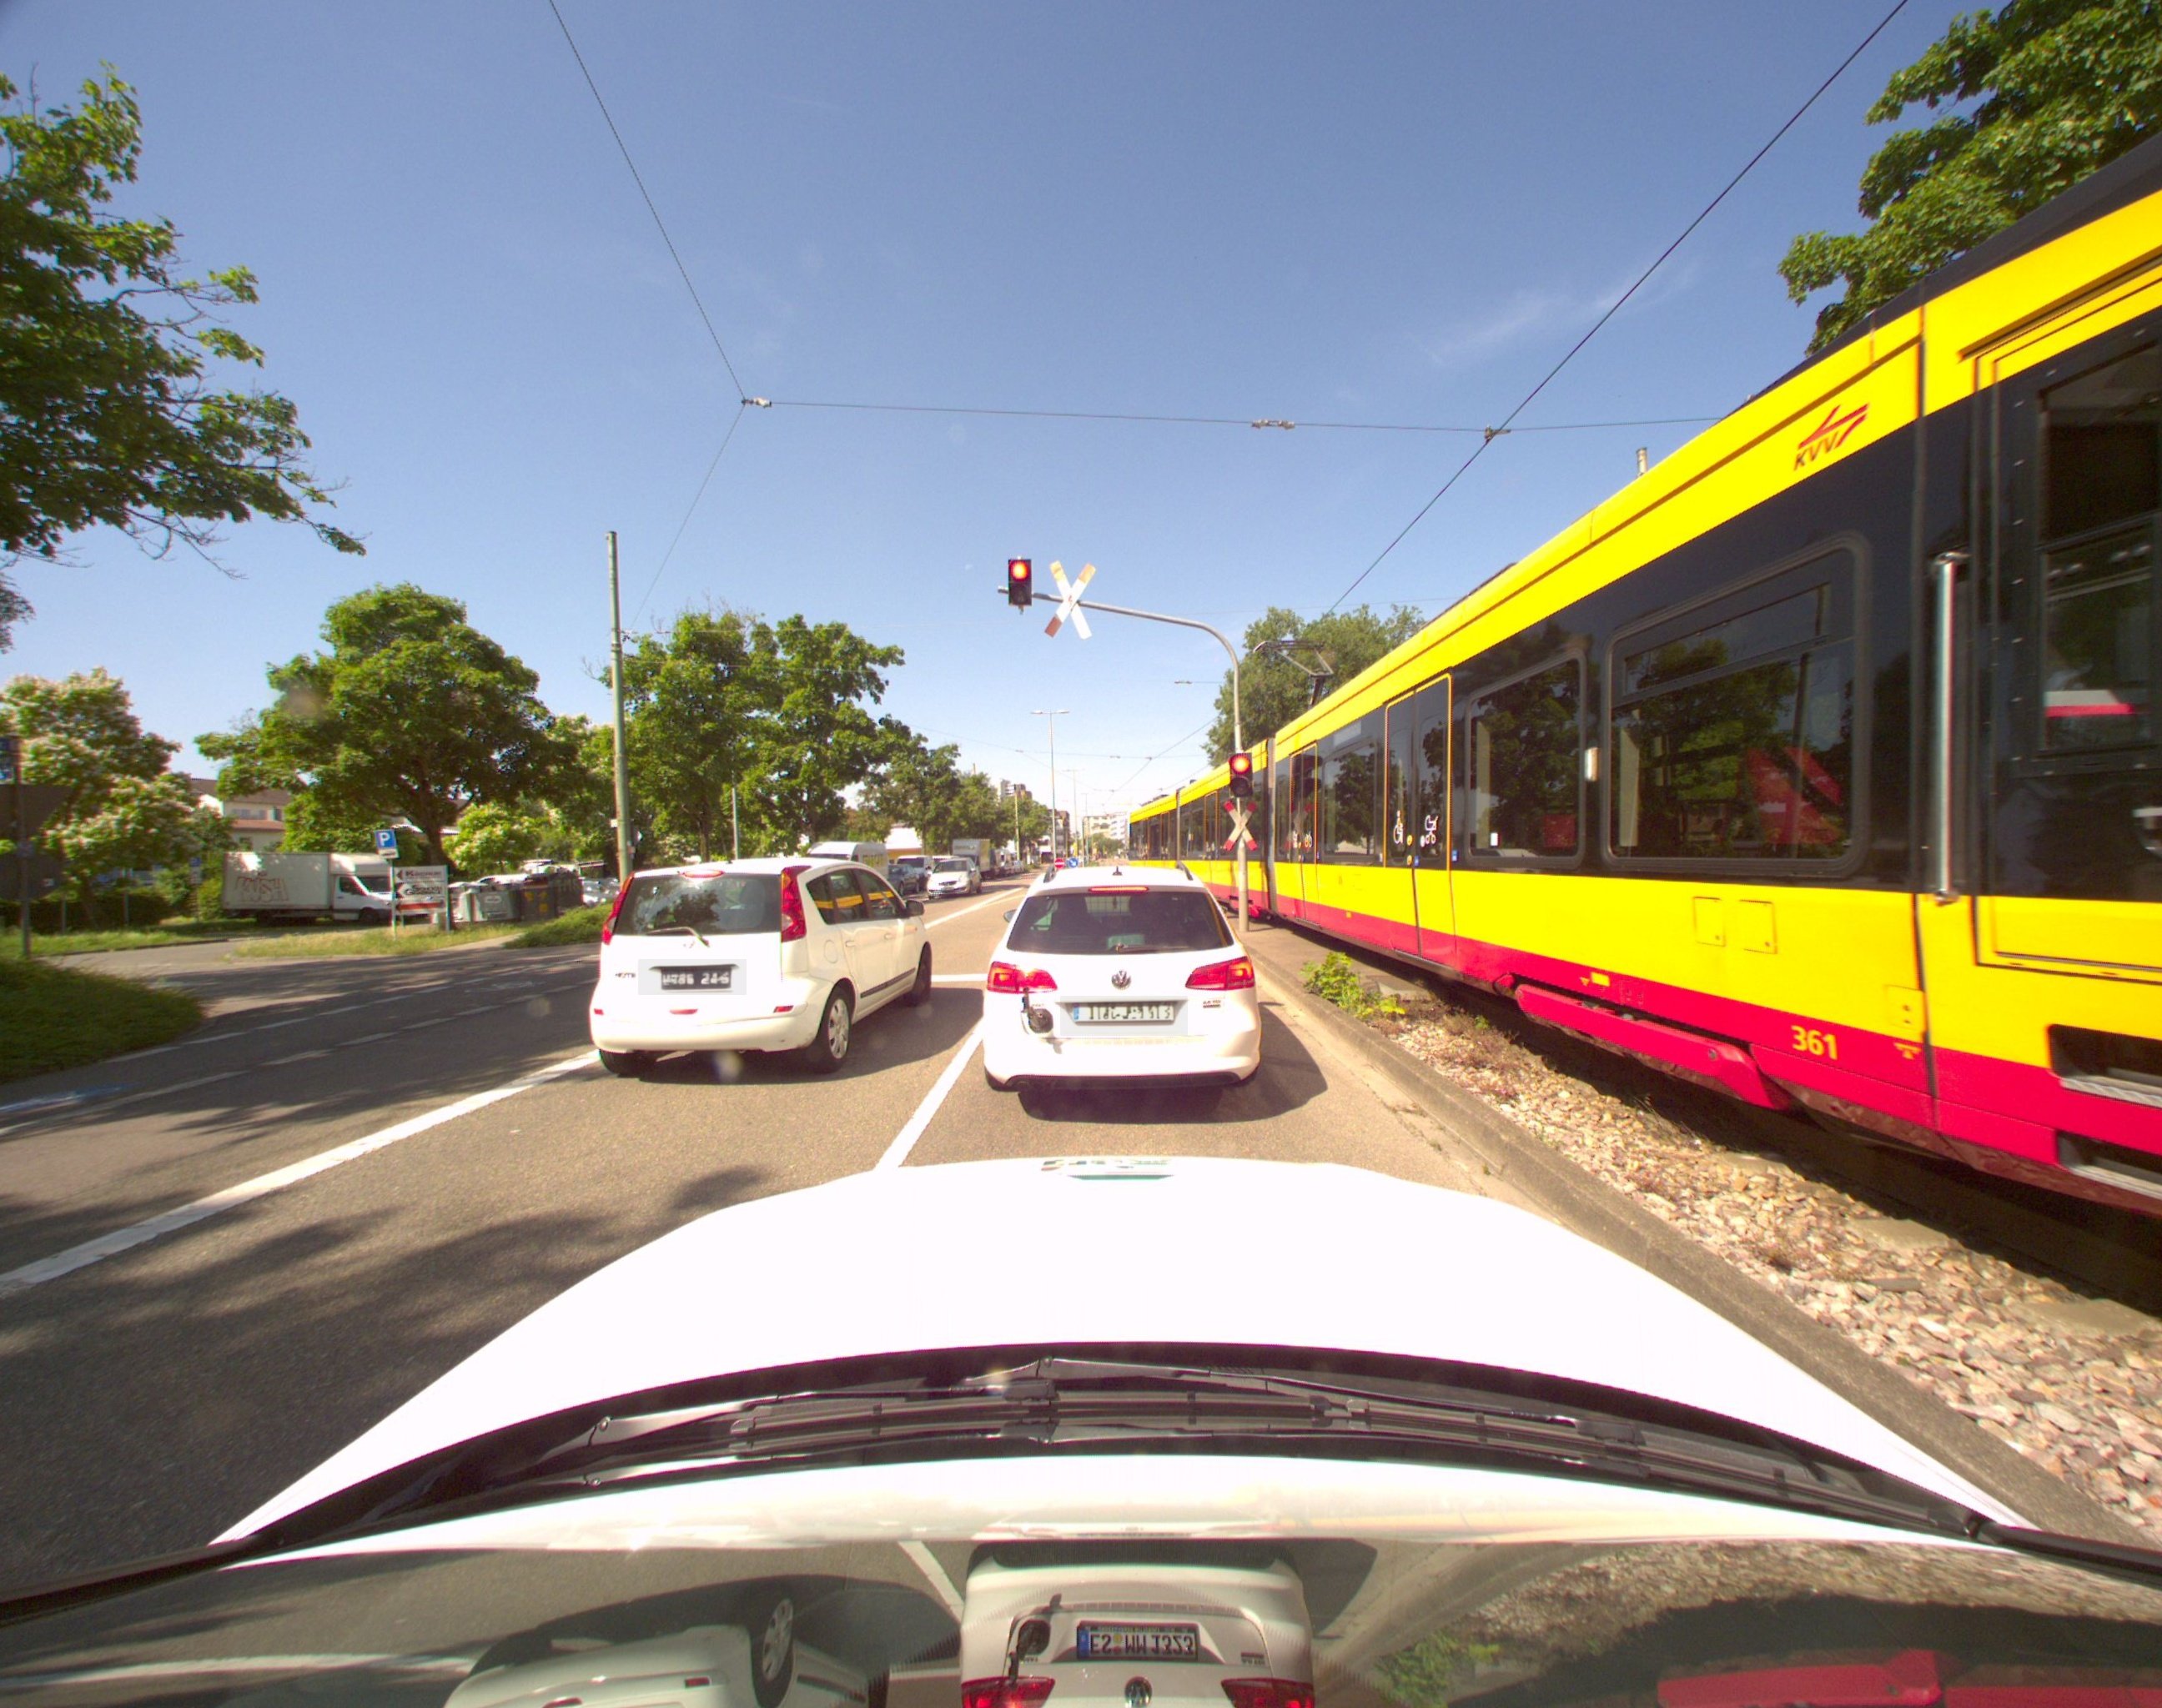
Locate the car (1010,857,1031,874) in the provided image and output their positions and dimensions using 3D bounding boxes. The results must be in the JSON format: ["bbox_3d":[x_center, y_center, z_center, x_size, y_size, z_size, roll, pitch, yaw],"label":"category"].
[{"bbox_3d":[-6.774,1.272,92.026,1.856,1.868,5.415,0,0,1],"label":"car"}]

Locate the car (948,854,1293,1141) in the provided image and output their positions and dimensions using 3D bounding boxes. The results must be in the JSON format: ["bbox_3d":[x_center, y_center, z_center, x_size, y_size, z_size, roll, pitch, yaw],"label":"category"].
[{"bbox_3d":[0.272,0.760,6.297,1.756,1.430,4.002,-3,0,2],"label":"car"}]

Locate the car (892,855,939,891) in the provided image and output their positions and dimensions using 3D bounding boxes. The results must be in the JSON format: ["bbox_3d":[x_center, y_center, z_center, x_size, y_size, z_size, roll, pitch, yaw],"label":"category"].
[{"bbox_3d":[-9.215,1.004,45.686,1.859,1.868,5.068,0,0,-3],"label":"car"}]

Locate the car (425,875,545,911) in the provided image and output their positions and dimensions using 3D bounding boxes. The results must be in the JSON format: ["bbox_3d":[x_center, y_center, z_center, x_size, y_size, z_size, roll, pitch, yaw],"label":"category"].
[{"bbox_3d":[-31.770,2.058,43.547,4.780,1.787,2.062,0,-1,-3],"label":"car"}]

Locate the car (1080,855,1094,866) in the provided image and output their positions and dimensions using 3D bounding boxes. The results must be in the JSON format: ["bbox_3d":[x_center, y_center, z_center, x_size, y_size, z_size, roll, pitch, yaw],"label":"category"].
[{"bbox_3d":[0.833,0.885,112.794,1.698,1.473,4.593,-3,0,3],"label":"car"}]

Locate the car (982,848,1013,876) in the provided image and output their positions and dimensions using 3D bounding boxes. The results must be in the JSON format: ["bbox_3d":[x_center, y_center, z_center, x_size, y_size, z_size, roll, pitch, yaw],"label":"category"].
[{"bbox_3d":[-7.739,0.697,76.119,2.114,2.516,5.737,0,0,2],"label":"car"}]

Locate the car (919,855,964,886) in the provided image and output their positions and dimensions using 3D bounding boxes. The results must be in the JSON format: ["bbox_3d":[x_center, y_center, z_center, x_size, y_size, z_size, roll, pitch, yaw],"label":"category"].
[{"bbox_3d":[-8.871,1.026,52.268,1.856,1.868,5.415,0,0,1],"label":"car"}]

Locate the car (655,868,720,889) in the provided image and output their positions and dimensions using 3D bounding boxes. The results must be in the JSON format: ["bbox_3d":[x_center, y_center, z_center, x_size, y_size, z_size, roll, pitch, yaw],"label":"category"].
[{"bbox_3d":[-35.198,2.213,72.972,4.780,1.787,2.062,0,-1,-3],"label":"car"}]

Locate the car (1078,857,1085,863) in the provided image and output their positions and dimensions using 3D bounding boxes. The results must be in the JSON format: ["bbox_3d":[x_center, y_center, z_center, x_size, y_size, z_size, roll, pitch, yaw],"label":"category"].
[{"bbox_3d":[0.110,1.571,216.431,1.698,1.473,4.593,-3,0,3],"label":"car"}]

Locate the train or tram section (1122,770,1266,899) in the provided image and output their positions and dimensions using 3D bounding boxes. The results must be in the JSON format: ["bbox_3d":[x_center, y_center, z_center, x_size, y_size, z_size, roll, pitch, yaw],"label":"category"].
[{"bbox_3d":[3.778,-0.592,30.385,2.866,3.855,10.518,-3,0,-5],"label":"train or tram section"}]

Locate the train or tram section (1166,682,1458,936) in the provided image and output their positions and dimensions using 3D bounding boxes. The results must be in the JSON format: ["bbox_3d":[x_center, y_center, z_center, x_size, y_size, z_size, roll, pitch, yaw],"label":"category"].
[{"bbox_3d":[4.267,-0.707,18.903,2.862,3.855,12.384,-3,0,-1],"label":"train or tram section"}]

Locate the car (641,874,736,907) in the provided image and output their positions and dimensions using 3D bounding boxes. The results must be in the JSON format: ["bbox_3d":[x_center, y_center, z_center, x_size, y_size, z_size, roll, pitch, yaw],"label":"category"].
[{"bbox_3d":[-20.289,1.879,42.213,3.977,1.415,1.729,-4,-1,-3],"label":"car"}]

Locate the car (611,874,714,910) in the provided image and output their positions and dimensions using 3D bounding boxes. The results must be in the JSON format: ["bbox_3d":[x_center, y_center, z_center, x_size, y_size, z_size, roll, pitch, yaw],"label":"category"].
[{"bbox_3d":[-20.296,1.815,39.603,3.977,1.415,1.729,-4,-1,-3],"label":"car"}]

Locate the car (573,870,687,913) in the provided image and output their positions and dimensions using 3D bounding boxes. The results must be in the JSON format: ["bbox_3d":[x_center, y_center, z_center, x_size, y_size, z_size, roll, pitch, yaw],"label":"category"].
[{"bbox_3d":[-19.918,1.637,36.067,3.977,1.610,1.729,-4,-1,-3],"label":"car"}]

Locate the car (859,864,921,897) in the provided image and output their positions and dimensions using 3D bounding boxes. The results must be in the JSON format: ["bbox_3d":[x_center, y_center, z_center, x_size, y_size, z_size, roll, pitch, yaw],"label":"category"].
[{"bbox_3d":[-9.075,1.233,39.093,1.856,1.415,4.281,0,0,1],"label":"car"}]

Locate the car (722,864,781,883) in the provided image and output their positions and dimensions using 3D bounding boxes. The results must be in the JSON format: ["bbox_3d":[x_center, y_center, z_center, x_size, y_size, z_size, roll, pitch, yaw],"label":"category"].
[{"bbox_3d":[-31.471,1.837,77.901,4.780,1.787,2.062,0,-1,-3],"label":"car"}]

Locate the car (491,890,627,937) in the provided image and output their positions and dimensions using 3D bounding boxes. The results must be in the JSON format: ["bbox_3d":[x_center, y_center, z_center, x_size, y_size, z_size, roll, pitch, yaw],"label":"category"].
[{"bbox_3d":[-19.901,2.242,31.166,3.977,1.415,1.729,-4,-1,-3],"label":"car"}]

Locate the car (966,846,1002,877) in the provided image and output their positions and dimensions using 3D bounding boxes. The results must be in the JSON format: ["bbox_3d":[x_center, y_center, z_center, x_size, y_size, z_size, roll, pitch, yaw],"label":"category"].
[{"bbox_3d":[-8.148,0.635,68.687,2.114,2.516,5.737,0,0,2],"label":"car"}]

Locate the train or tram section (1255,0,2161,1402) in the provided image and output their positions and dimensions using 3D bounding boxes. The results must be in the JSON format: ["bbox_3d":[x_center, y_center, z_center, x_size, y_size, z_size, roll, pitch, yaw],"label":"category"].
[{"bbox_3d":[4.156,-0.599,6.547,2.861,3.855,12.392,-3,0,1],"label":"train or tram section"}]

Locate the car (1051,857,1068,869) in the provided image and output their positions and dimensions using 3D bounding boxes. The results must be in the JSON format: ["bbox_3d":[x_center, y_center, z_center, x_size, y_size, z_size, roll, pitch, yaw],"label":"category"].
[{"bbox_3d":[-2.713,1.103,101.904,1.698,1.473,4.593,-3,0,3],"label":"car"}]

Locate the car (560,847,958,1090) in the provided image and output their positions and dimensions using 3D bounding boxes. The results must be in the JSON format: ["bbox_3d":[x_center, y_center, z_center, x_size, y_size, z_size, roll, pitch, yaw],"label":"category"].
[{"bbox_3d":[-2.439,0.743,7.552,1.655,1.547,4.550,-1,0,3],"label":"car"}]

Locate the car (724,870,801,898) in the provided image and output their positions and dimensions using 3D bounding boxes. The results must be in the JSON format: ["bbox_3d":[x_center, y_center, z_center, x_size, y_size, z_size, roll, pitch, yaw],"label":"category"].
[{"bbox_3d":[-19.463,1.834,49.880,3.977,1.415,1.729,-4,-1,-3],"label":"car"}]

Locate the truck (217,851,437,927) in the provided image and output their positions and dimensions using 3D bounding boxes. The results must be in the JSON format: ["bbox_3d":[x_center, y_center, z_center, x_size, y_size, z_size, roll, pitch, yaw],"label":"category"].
[{"bbox_3d":[-32.426,1.467,35.207,6.978,3.110,2.677,0,0,0],"label":"truck"}]

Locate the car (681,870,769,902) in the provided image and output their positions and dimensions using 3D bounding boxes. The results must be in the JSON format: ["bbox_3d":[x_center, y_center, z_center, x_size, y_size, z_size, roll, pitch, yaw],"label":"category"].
[{"bbox_3d":[-19.541,1.734,44.781,3.977,1.415,1.729,-4,-1,-3],"label":"car"}]

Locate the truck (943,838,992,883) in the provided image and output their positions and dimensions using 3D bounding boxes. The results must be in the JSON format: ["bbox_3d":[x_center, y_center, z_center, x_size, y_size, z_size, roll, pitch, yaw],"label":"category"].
[{"bbox_3d":[-8.350,0.429,60.688,2.411,3.150,7.001,0,0,2],"label":"truck"}]

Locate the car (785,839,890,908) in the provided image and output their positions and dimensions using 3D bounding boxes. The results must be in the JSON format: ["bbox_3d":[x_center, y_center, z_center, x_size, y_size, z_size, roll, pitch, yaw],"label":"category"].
[{"bbox_3d":[-9.582,0.696,32.673,2.114,2.516,5.822,0,0,3],"label":"car"}]

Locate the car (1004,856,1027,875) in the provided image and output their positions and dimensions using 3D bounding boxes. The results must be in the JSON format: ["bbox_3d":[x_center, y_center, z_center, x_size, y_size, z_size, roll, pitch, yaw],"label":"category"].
[{"bbox_3d":[-6.825,1.173,85.208,1.856,1.868,5.415,0,0,1],"label":"car"}]

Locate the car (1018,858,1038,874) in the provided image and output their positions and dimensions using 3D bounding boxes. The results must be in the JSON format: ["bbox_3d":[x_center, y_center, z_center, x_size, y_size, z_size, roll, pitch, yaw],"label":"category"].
[{"bbox_3d":[-6.392,1.381,98.938,1.856,1.868,5.415,0,0,1],"label":"car"}]

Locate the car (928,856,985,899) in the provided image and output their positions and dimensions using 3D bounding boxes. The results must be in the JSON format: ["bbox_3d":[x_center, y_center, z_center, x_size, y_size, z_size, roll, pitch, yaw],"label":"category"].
[{"bbox_3d":[-5.126,0.931,33.925,1.670,1.553,3.580,-4,0,1],"label":"car"}]

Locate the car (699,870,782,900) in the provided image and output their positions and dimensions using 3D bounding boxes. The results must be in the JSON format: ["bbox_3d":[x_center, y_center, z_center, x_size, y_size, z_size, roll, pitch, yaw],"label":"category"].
[{"bbox_3d":[-19.610,1.779,47.063,3.977,1.415,1.729,-4,-1,-3],"label":"car"}]

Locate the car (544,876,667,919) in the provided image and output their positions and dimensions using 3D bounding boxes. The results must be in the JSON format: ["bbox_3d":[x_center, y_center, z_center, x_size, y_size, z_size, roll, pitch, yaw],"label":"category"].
[{"bbox_3d":[-19.667,1.777,33.800,3.977,1.415,1.729,-4,-1,-3],"label":"car"}]
